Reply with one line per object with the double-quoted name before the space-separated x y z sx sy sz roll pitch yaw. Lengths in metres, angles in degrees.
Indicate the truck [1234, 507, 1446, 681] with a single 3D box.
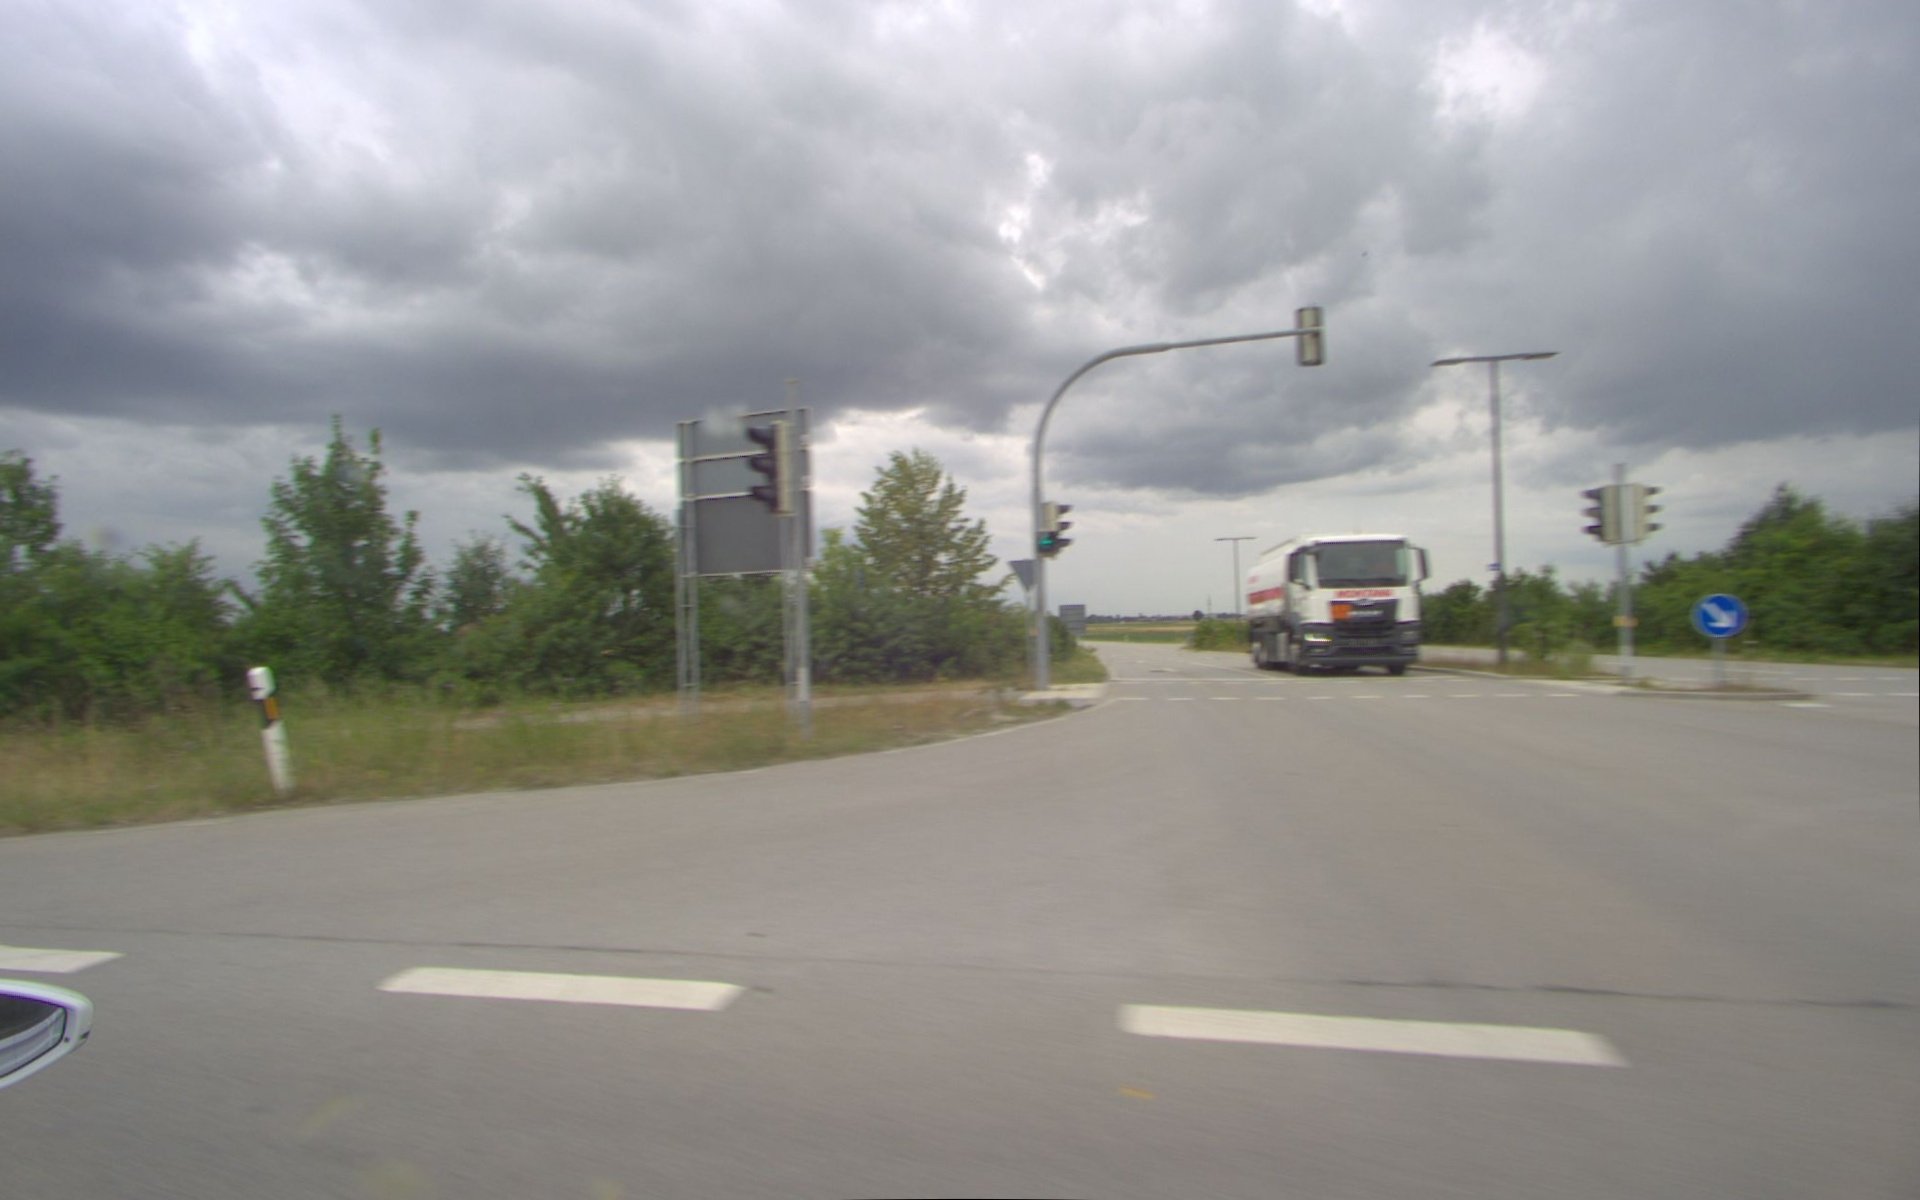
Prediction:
"truck" 8.944 0.044 24.802 2.824 3.451 8.652 -2 -2 7
